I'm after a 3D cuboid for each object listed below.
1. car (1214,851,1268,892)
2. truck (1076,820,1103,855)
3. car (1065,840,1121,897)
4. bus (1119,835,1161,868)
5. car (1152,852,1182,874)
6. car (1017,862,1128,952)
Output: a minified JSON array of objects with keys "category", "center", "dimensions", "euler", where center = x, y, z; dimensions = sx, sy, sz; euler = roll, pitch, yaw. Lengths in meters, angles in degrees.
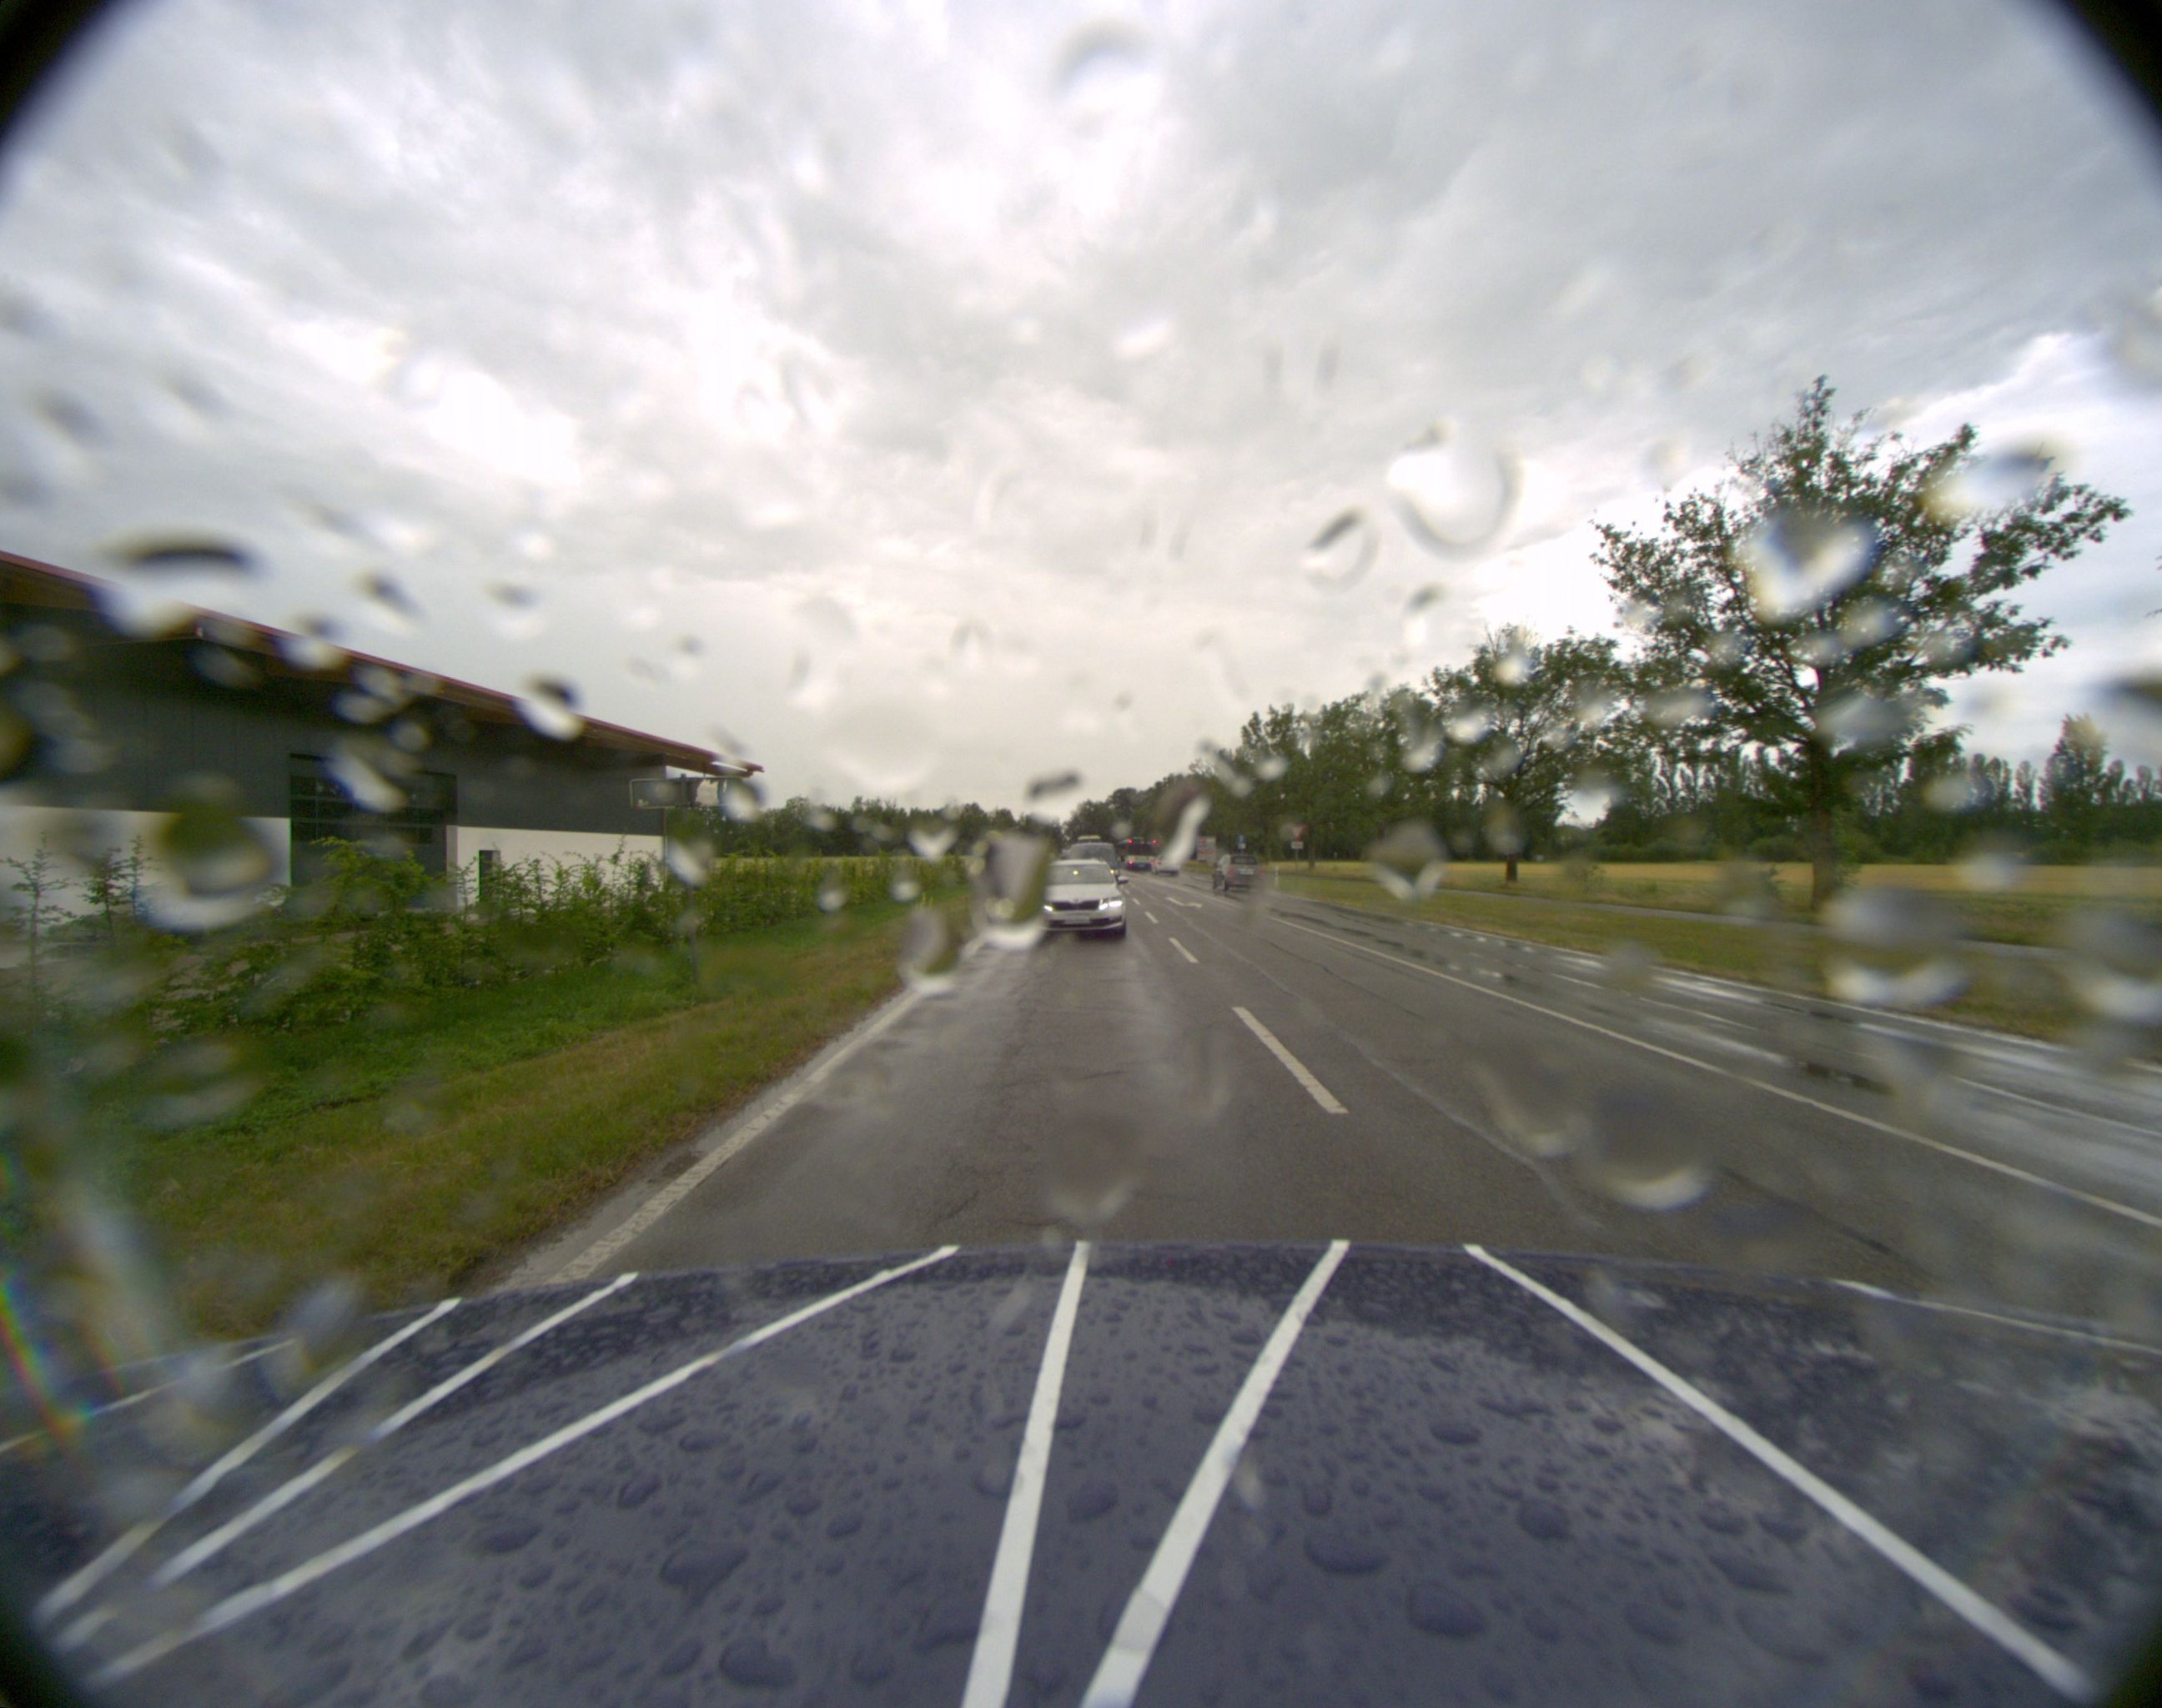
[{"category":"car","center":[6.413,0.668,30.724],"dimensions":[1.504,1.521,3.301],"euler":[2,1,2]},{"category":"truck","center":[0.983,-1.852,89.321],"dimensions":[2.931,3.828,14.119],"euler":[0,0,1]},{"category":"car","center":[0.432,0.469,27.602],"dimensions":[1.892,1.939,4.000],"euler":[0,1,1]},{"category":"bus","center":[5.428,-0.277,72.433],"dimensions":[2.958,2.895,12.472],"euler":[0,1,0]},{"category":"car","center":[6.016,0.588,53.314],"dimensions":[1.672,1.442,3.461],"euler":[2,0,1]},{"category":"car","center":[-0.114,0.932,15.317],"dimensions":[1.843,1.379,4.569],"euler":[-2,1,1]}]
